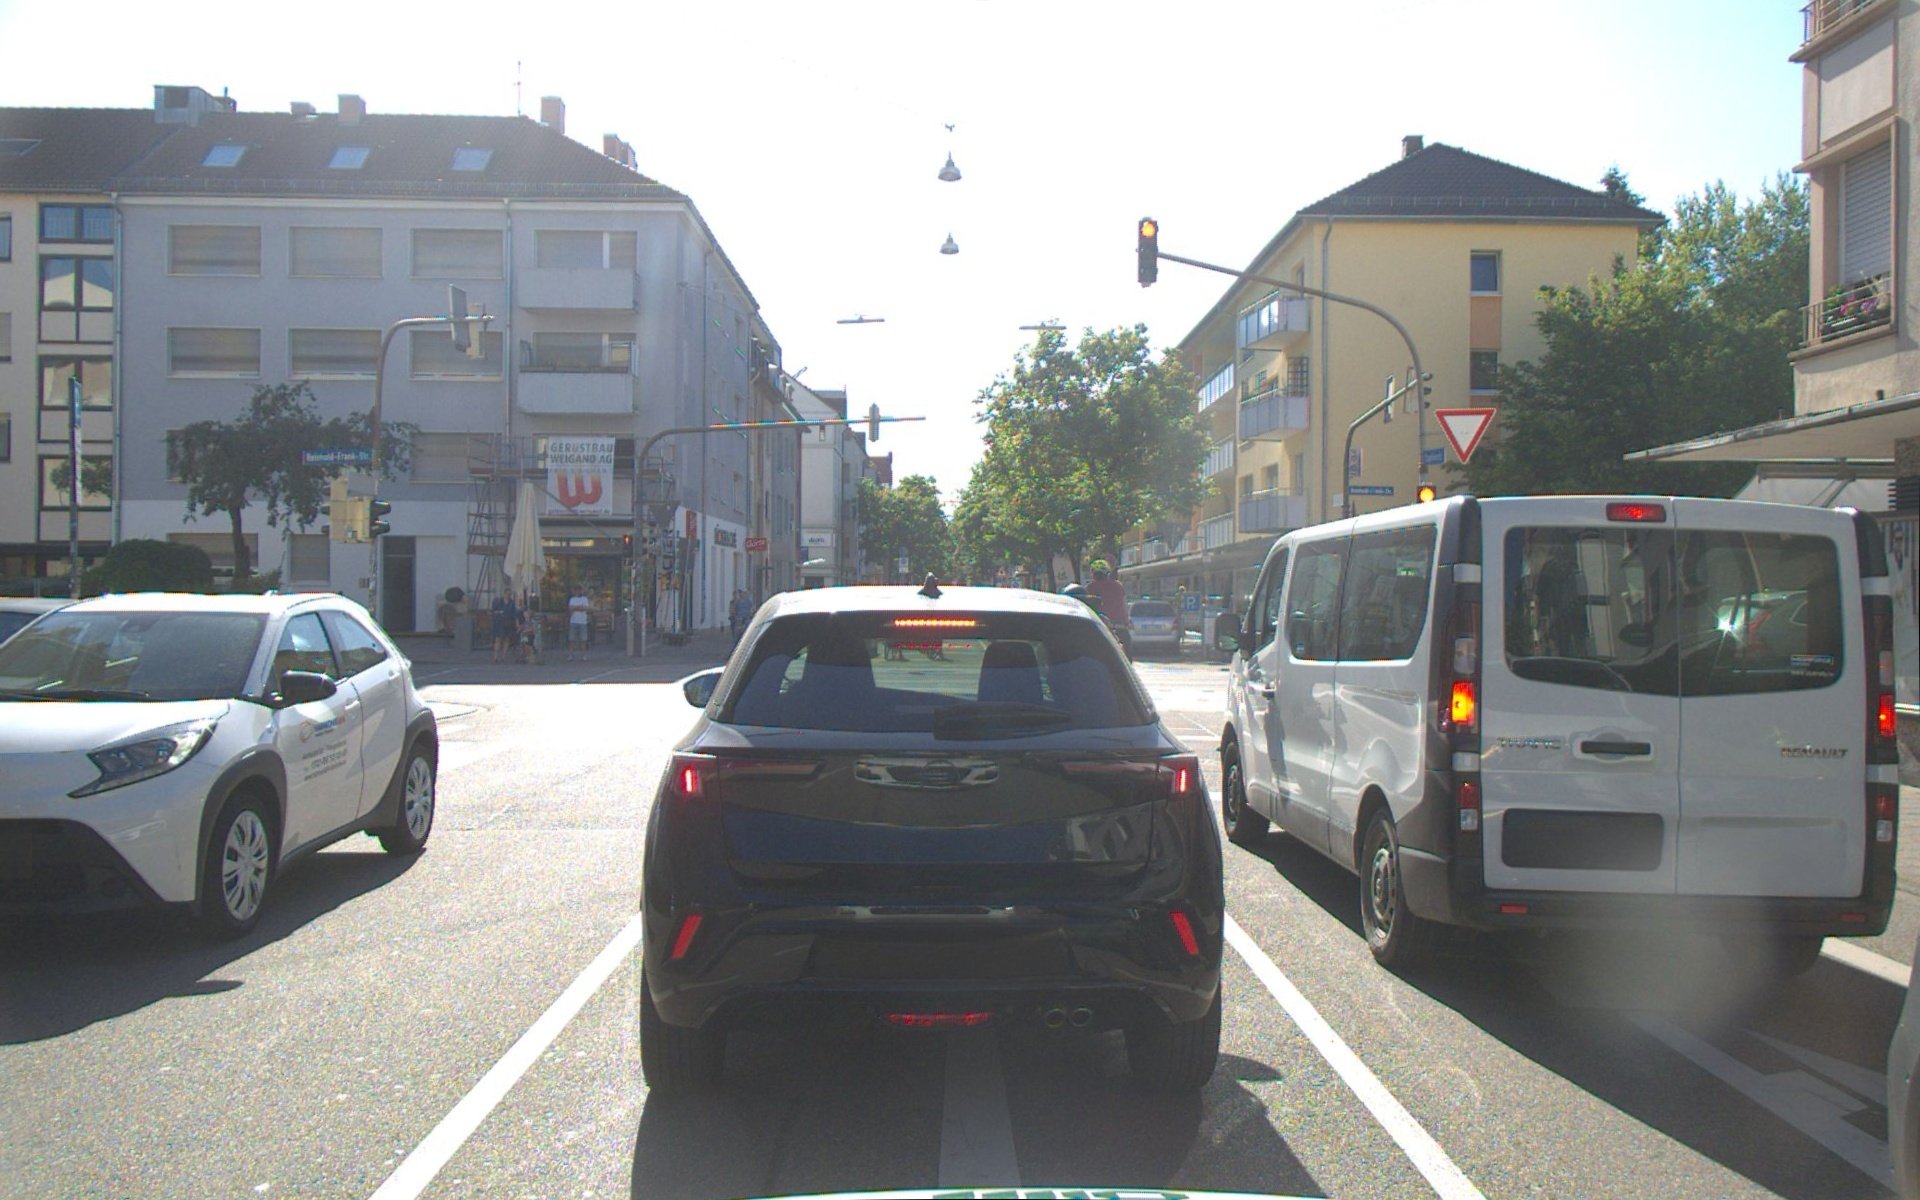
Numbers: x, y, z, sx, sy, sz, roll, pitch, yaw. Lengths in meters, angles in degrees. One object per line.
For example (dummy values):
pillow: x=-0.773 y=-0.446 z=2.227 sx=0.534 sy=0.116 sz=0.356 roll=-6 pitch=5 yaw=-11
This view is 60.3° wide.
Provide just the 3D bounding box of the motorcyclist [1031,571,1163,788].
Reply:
motorcyclist: x=0.998 y=0.563 z=12.296 sx=0.846 sy=1.528 sz=1.159 roll=0 pitch=0 yaw=-2

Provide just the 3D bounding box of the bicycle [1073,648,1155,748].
bicycle: x=1.621 y=1.016 z=17.682 sx=0.565 sy=0.920 sz=2.300 roll=0 pitch=0 yaw=-3

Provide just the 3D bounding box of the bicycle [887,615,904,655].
bicycle: x=-1.704 y=0.908 z=43.775 sx=0.434 sy=1.010 sz=2.068 roll=0 pitch=0 yaw=-3

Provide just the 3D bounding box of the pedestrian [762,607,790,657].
pedestrian: x=-4.826 y=0.838 z=43.398 sx=0.692 sy=1.275 sz=0.802 roll=0 pitch=0 yaw=-3

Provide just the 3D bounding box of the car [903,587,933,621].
car: x=-2.610 y=0.223 z=102.693 sx=1.817 sy=2.049 sz=3.880 roll=0 pitch=0 yaw=-1

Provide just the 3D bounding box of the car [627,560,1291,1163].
car: x=-0.080 y=0.670 z=6.317 sx=1.735 sy=1.557 sz=3.998 roll=0 pitch=0 yaw=-3

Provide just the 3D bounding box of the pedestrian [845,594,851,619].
pedestrian: x=-7.425 y=0.434 z=109.529 sx=0.394 sy=1.704 sz=0.417 roll=0 pitch=0 yaw=-1

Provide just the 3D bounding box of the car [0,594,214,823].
car: x=-7.174 y=0.716 z=12.290 sx=1.584 sy=1.450 sz=3.709 roll=3 pitch=0 yaw=-1

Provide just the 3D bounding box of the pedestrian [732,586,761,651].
pedestrian: x=-5.642 y=0.487 z=43.684 sx=0.692 sy=1.707 sz=0.802 roll=0 pitch=0 yaw=-3

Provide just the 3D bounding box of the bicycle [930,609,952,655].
bicycle: x=-0.517 y=0.846 z=43.866 sx=0.511 sy=1.167 sz=2.169 roll=0 pitch=0 yaw=-3

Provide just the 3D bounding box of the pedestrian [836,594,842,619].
pedestrian: x=-8.057 y=0.427 z=109.950 sx=0.394 sy=1.704 sz=0.417 roll=0 pitch=0 yaw=-1

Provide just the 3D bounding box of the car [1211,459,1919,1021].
car: x=2.717 y=0.509 z=8.499 sx=1.953 sy=2.014 sz=4.894 roll=2 pitch=0 yaw=-1

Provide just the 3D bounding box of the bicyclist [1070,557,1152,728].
bicyclist: x=1.589 y=0.430 z=17.606 sx=0.675 sy=1.742 sz=1.413 roll=0 pitch=0 yaw=-3

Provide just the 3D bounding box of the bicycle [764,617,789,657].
bicycle: x=-4.855 y=0.968 z=43.838 sx=0.511 sy=1.010 sz=2.338 roll=0 pitch=0 yaw=-3

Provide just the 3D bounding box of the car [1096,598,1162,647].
car: x=5.284 y=0.689 z=52.059 sx=1.601 sy=1.458 sz=3.999 roll=0 pitch=0 yaw=-1

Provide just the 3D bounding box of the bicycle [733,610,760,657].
bicycle: x=-5.655 y=0.870 z=43.810 sx=0.511 sy=1.167 sz=2.282 roll=0 pitch=0 yaw=-3

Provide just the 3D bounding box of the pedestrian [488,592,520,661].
pedestrian: x=-10.290 y=0.586 z=37.325 sx=0.573 sy=1.547 sz=0.649 roll=0 pitch=0 yaw=-4

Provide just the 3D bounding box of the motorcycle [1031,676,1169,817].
motorcycle: x=0.988 y=1.035 z=12.121 sx=0.808 sy=0.860 sz=1.884 roll=0 pitch=0 yaw=-1

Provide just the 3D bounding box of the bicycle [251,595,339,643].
bicycle: x=-17.071 y=0.479 z=42.477 sx=2.067 sy=1.193 sz=0.735 roll=0 pitch=0 yaw=-25

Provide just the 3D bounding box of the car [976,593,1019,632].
car: x=1.690 y=0.543 z=76.037 sx=1.863 sy=1.758 sz=4.000 roll=0 pitch=0 yaw=0

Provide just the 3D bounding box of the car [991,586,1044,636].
car: x=2.070 y=0.365 z=60.313 sx=1.863 sy=1.758 sz=4.073 roll=0 pitch=0 yaw=1

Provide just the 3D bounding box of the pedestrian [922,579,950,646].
pedestrian: x=-0.636 y=0.322 z=43.613 sx=0.692 sy=1.731 sz=0.802 roll=0 pitch=0 yaw=-3

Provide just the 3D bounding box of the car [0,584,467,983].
car: x=-3.938 y=0.720 z=8.410 sx=1.729 sy=1.563 sz=3.786 roll=-1 pitch=0 yaw=0

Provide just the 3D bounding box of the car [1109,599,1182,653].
car: x=5.263 y=0.722 z=47.342 sx=1.601 sy=1.458 sz=3.956 roll=0 pitch=0 yaw=-1

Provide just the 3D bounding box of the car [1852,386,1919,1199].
car: x=2.997 y=0.523 z=1.214 sx=1.799 sy=1.901 sz=4.993 roll=0 pitch=0 yaw=-3

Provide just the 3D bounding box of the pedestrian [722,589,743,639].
pedestrian: x=-7.096 y=0.436 z=51.639 sx=0.605 sy=1.547 sz=0.724 roll=0 pitch=0 yaw=-4

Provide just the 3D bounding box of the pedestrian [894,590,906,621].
pedestrian: x=-3.359 y=0.308 z=93.165 sx=0.558 sy=1.719 sz=0.588 roll=0 pitch=0 yaw=10

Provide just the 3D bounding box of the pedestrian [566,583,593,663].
pedestrian: x=-8.726 y=0.520 z=37.963 sx=0.550 sy=1.806 sz=0.582 roll=1 pitch=0 yaw=-9

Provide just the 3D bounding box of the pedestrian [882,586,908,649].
pedestrian: x=-1.729 y=0.453 z=43.712 sx=0.666 sy=1.634 sz=0.762 roll=0 pitch=0 yaw=-3

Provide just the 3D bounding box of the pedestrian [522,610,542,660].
pedestrian: x=-9.634 y=0.790 z=37.218 sx=0.348 sy=1.111 sz=0.461 roll=0 pitch=0 yaw=-4
